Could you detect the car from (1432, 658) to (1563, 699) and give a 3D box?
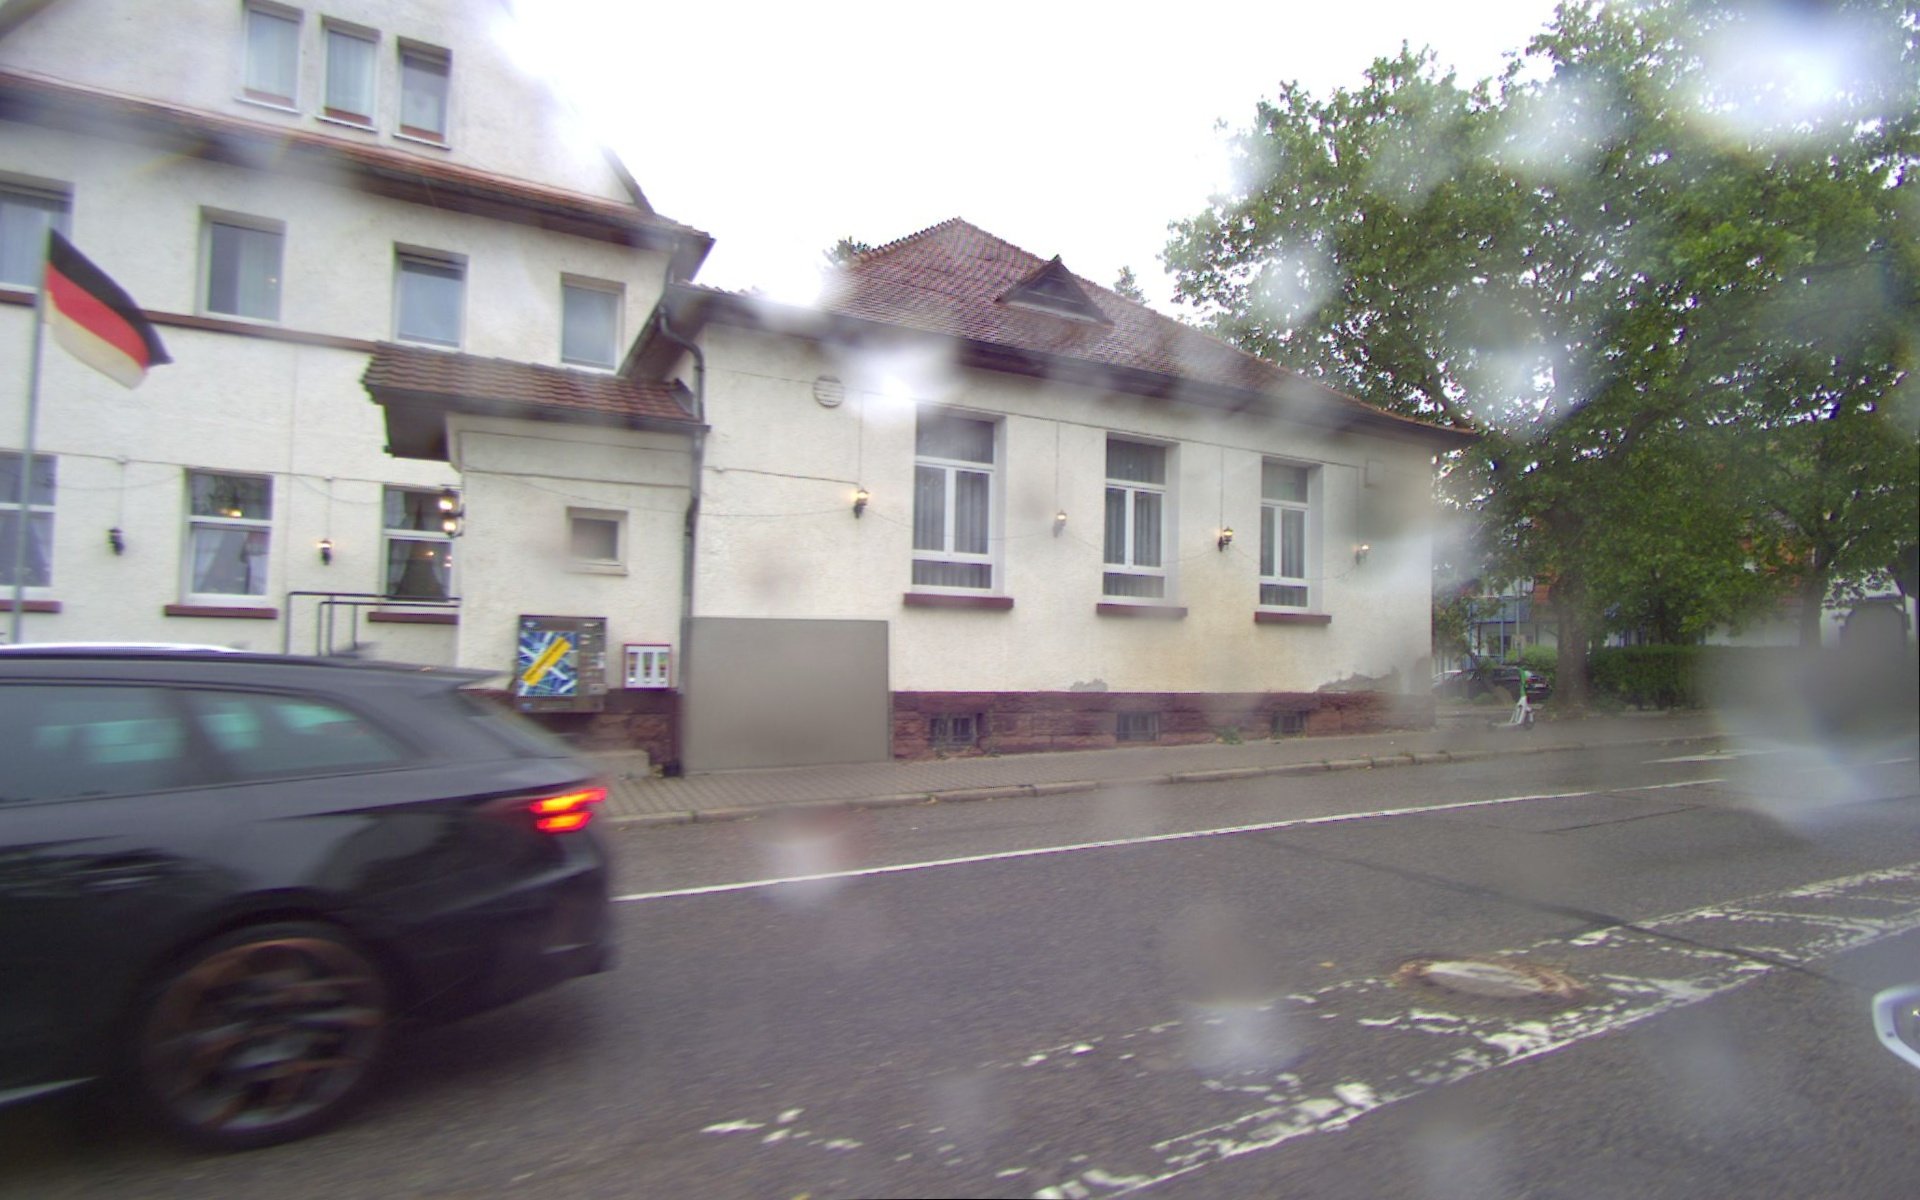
[{"bbox_3d":[20.082,2.960,37.688,1.717,1.460,3.971,1,-5,-29],"label":"car"}]

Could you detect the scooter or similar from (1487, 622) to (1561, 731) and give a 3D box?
[{"bbox_3d":[9.620,1.292,17.124,1.495,1.798,0.399,2,-3,-31],"label":"scooter or similar"}]

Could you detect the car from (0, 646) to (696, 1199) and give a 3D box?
[{"bbox_3d":[-3.271,0.915,3.314,4.332,1.447,1.986,1,-3,-28],"label":"car"}]

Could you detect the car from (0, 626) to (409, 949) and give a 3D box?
[{"bbox_3d":[-5.669,1.124,6.192,3.952,1.704,1.987,1,-8,-29],"label":"car"}]
